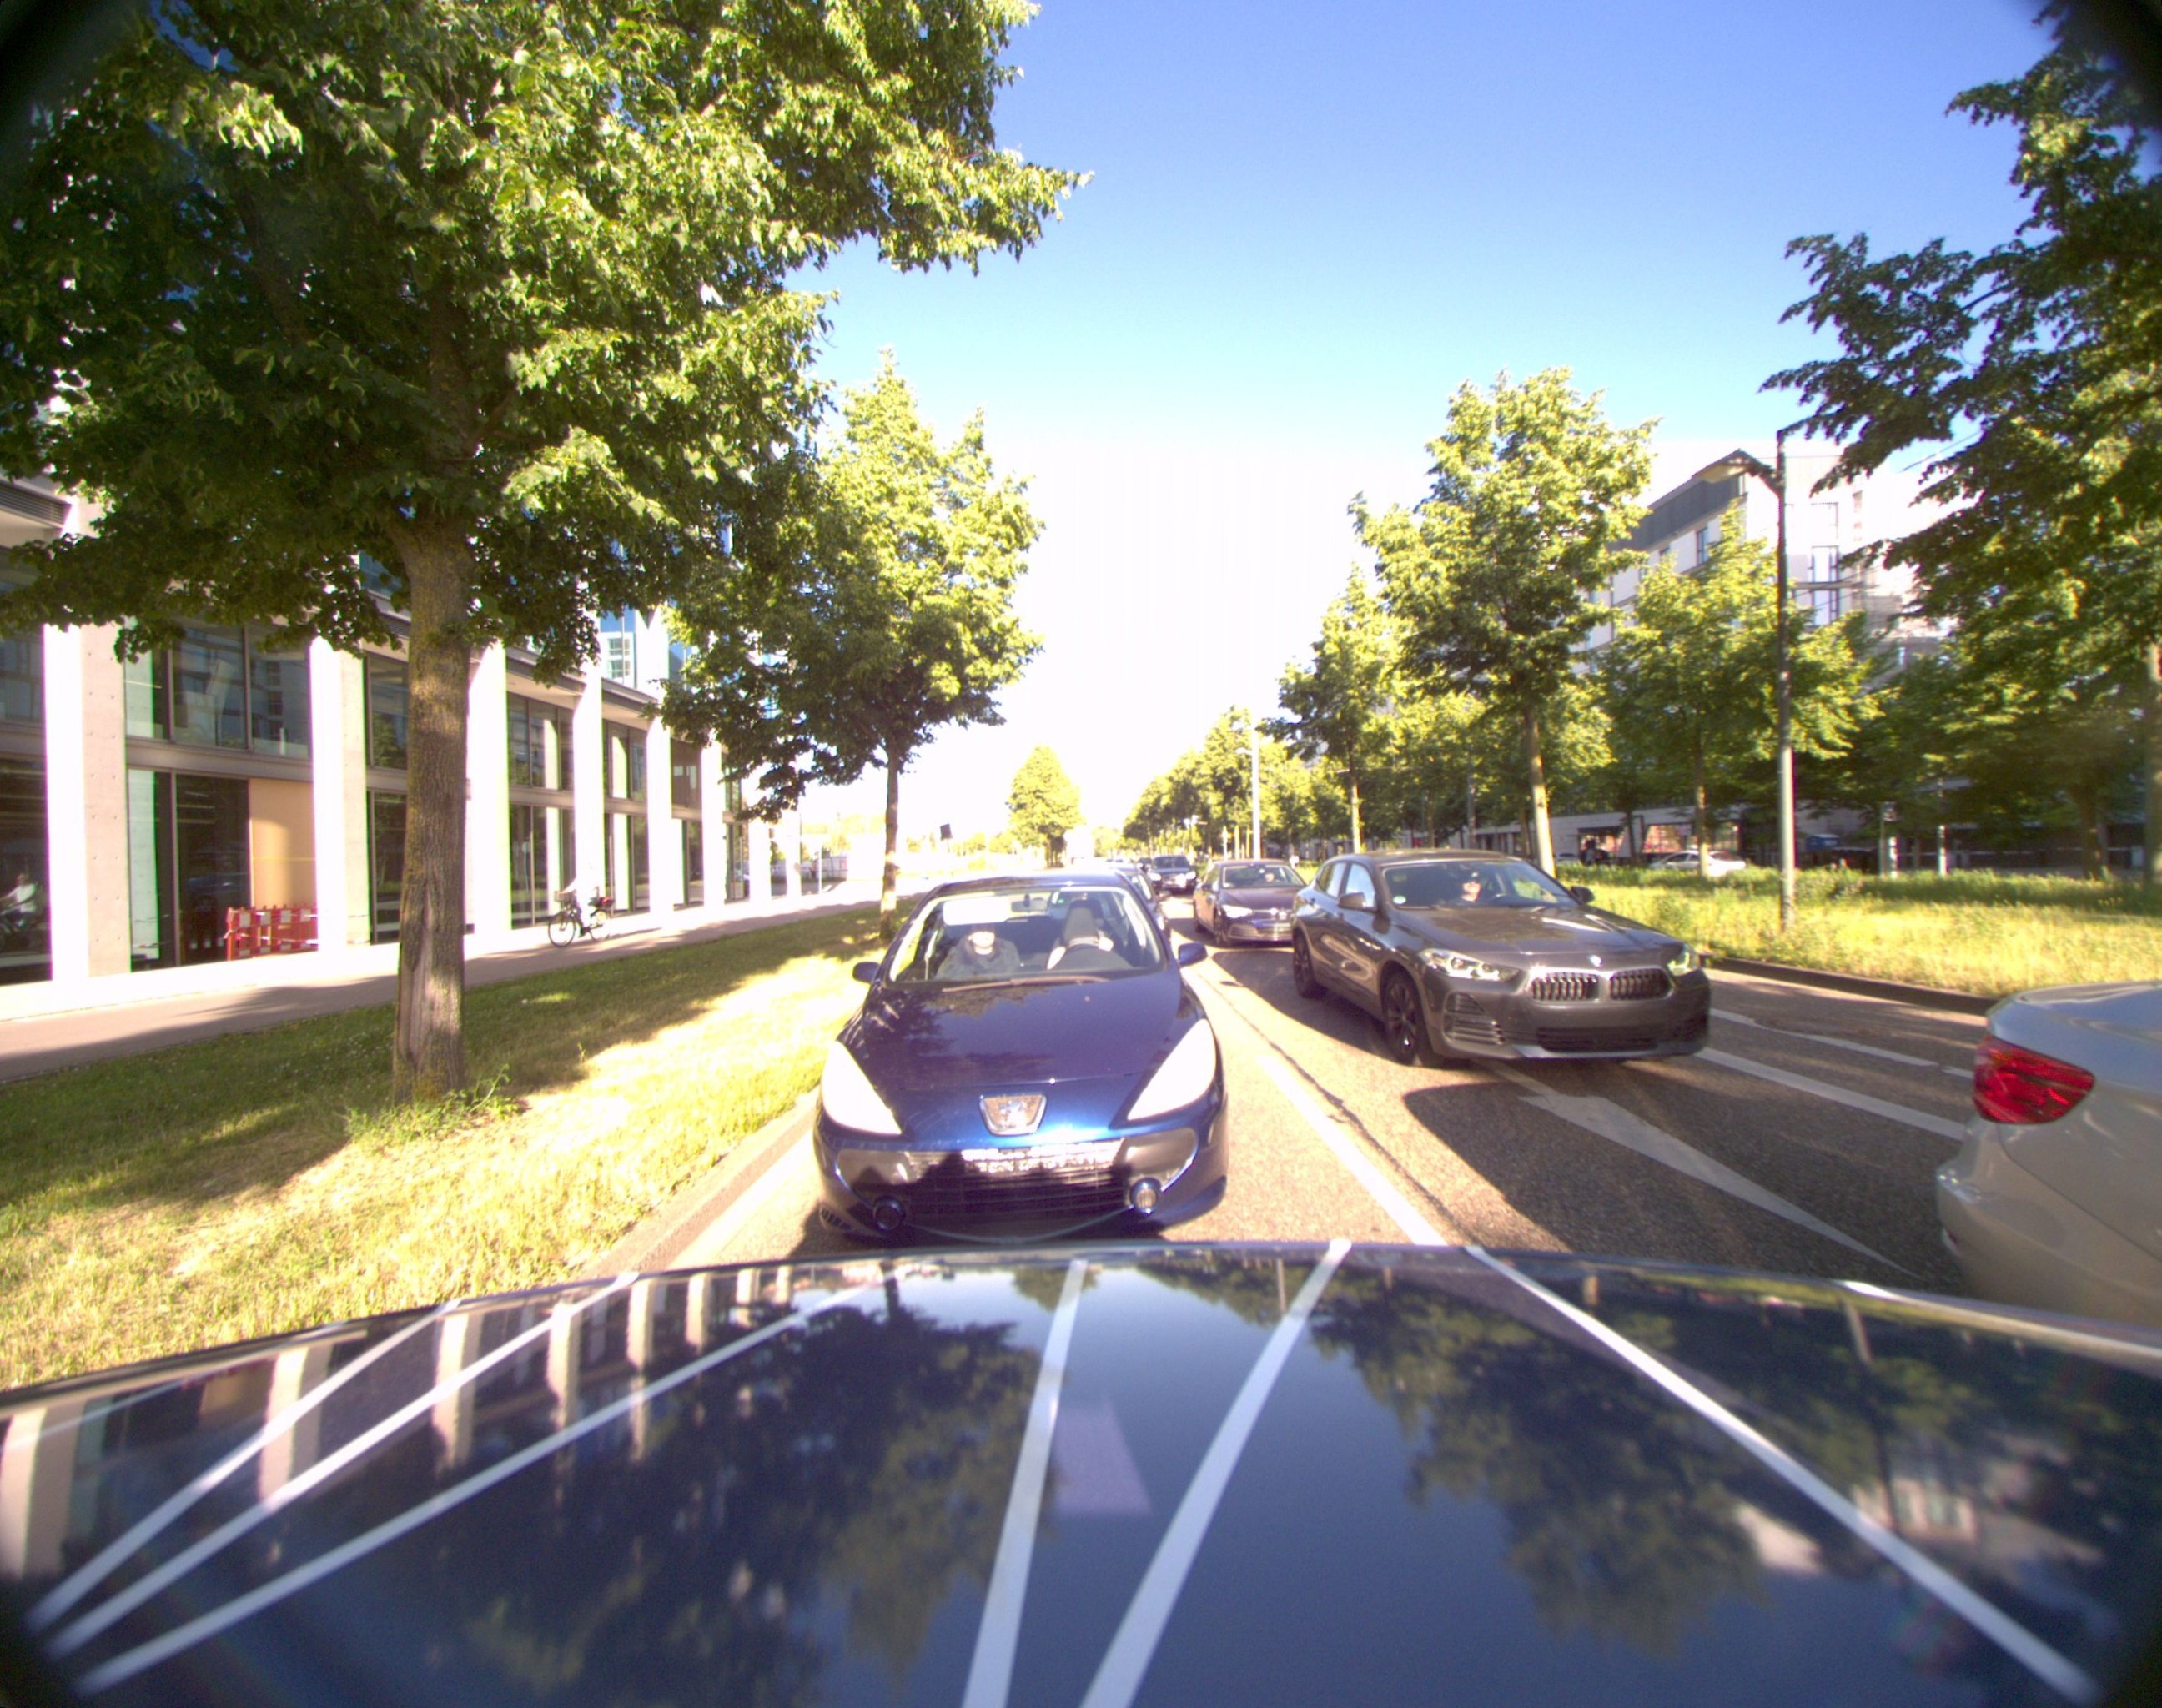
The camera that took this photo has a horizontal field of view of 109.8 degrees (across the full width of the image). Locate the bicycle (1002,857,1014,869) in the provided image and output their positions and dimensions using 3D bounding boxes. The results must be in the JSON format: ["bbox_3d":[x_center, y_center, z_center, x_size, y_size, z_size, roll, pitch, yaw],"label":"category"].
[{"bbox_3d":[-8.879,1.118,92.269,0.931,1.355,4.000,-1,0,1],"label":"bicycle"}]

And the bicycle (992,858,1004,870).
[{"bbox_3d":[-10.059,1.195,91.961,0.931,1.355,4.000,-1,0,1],"label":"bicycle"}]

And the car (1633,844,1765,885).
[{"bbox_3d":[25.715,0.392,31.878,1.803,1.474,4.568,-5,0,1],"label":"car"}]

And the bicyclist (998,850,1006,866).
[{"bbox_3d":[-9.997,0.518,96.078,0.931,2.045,1.121,-1,1,1],"label":"bicyclist"}]

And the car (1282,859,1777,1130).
[{"bbox_3d":[3.097,0.828,6.357,1.861,1.482,4.000,-1,0,2],"label":"car"}]

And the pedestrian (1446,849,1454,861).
[{"bbox_3d":[42.308,0.152,87.034,0.604,1.331,0.660,-1,1,1],"label":"pedestrian"}]

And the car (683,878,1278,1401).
[{"bbox_3d":[-0.290,0.983,4.652,1.846,1.473,4.481,-2,0,1],"label":"car"}]

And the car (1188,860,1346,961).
[{"bbox_3d":[3.073,0.865,13.493,1.878,1.415,4.344,-1,0,2],"label":"car"}]

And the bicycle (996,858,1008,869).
[{"bbox_3d":[-10.000,1.153,96.348,0.931,1.355,4.000,-1,0,1],"label":"bicycle"}]

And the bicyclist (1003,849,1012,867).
[{"bbox_3d":[-8.897,0.484,92.175,0.931,2.045,1.121,-1,1,1],"label":"bicyclist"}]

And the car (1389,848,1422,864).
[{"bbox_3d":[35.439,0.199,83.109,1.884,1.588,4.184,-1,0,1],"label":"car"}]

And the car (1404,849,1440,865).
[{"bbox_3d":[35.026,0.269,78.201,1.884,1.588,4.184,-1,0,1],"label":"car"}]

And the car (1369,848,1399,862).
[{"bbox_3d":[35.496,0.143,89.030,1.884,1.588,4.184,-1,0,1],"label":"car"}]

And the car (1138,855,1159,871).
[{"bbox_3d":[6.722,0.880,75.975,1.878,1.561,4.344,-1,0,2],"label":"car"}]

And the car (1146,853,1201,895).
[{"bbox_3d":[3.728,0.769,31.256,1.878,1.577,4.344,-1,0,2],"label":"car"}]

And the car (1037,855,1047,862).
[{"bbox_3d":[-9.368,1.154,181.763,1.998,1.556,4.835,-1,0,1],"label":"car"}]

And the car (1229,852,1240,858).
[{"bbox_3d":[36.110,0.180,179.236,1.998,1.387,4.001,-1,0,4],"label":"car"}]

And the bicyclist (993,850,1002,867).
[{"bbox_3d":[-10.065,0.559,91.973,0.931,2.045,1.121,-1,1,1],"label":"bicyclist"}]

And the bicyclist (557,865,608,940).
[{"bbox_3d":[-10.437,1.004,15.920,0.591,1.530,0.699,1,0,1],"label":"bicyclist"}]

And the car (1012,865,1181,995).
[{"bbox_3d":[0.217,0.953,11.462,1.998,1.437,4.622,-1,0,1],"label":"car"}]

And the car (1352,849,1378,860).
[{"bbox_3d":[35.256,0.051,94.434,1.998,1.387,4.001,-1,0,4],"label":"car"}]

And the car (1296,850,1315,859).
[{"bbox_3d":[36.605,0.016,124.158,1.998,1.387,4.000,-1,0,1],"label":"car"}]

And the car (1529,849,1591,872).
[{"bbox_3d":[34.896,0.477,55.519,1.884,1.588,4.184,-1,0,1],"label":"car"}]

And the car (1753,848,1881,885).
[{"bbox_3d":[34.082,0.539,35.357,1.951,1.588,4.184,-1,0,1],"label":"car"}]

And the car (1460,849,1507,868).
[{"bbox_3d":[35.151,0.365,66.519,1.884,1.588,4.184,-1,0,1],"label":"car"}]

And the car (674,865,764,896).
[{"bbox_3d":[-20.046,1.433,42.155,3.996,1.569,2.000,-1,0,3],"label":"car"}]

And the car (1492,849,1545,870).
[{"bbox_3d":[35.184,0.409,61.236,1.884,1.588,4.184,-1,0,1],"label":"car"}]

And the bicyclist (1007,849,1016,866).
[{"bbox_3d":[-8.848,0.444,96.336,0.931,2.045,1.121,-1,1,1],"label":"bicyclist"}]

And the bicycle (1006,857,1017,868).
[{"bbox_3d":[-8.849,1.079,96.424,0.931,1.355,4.000,-1,0,1],"label":"bicycle"}]

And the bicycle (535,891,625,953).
[{"bbox_3d":[-10.445,1.386,15.926,0.591,1.149,1.928,1,0,1],"label":"bicycle"}]

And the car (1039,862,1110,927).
[{"bbox_3d":[-0.121,1.019,20.737,1.724,1.516,4.000,-1,0,1],"label":"car"}]

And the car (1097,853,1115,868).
[{"bbox_3d":[2.646,0.654,81.129,1.879,1.561,4.344,-1,0,1],"label":"car"}]

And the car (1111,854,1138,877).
[{"bbox_3d":[3.199,0.817,56.602,1.878,1.561,4.344,-1,0,2],"label":"car"}]

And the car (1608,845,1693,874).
[{"bbox_3d":[33.791,0.332,45.233,1.951,1.588,4.184,-1,0,1],"label":"car"}]
